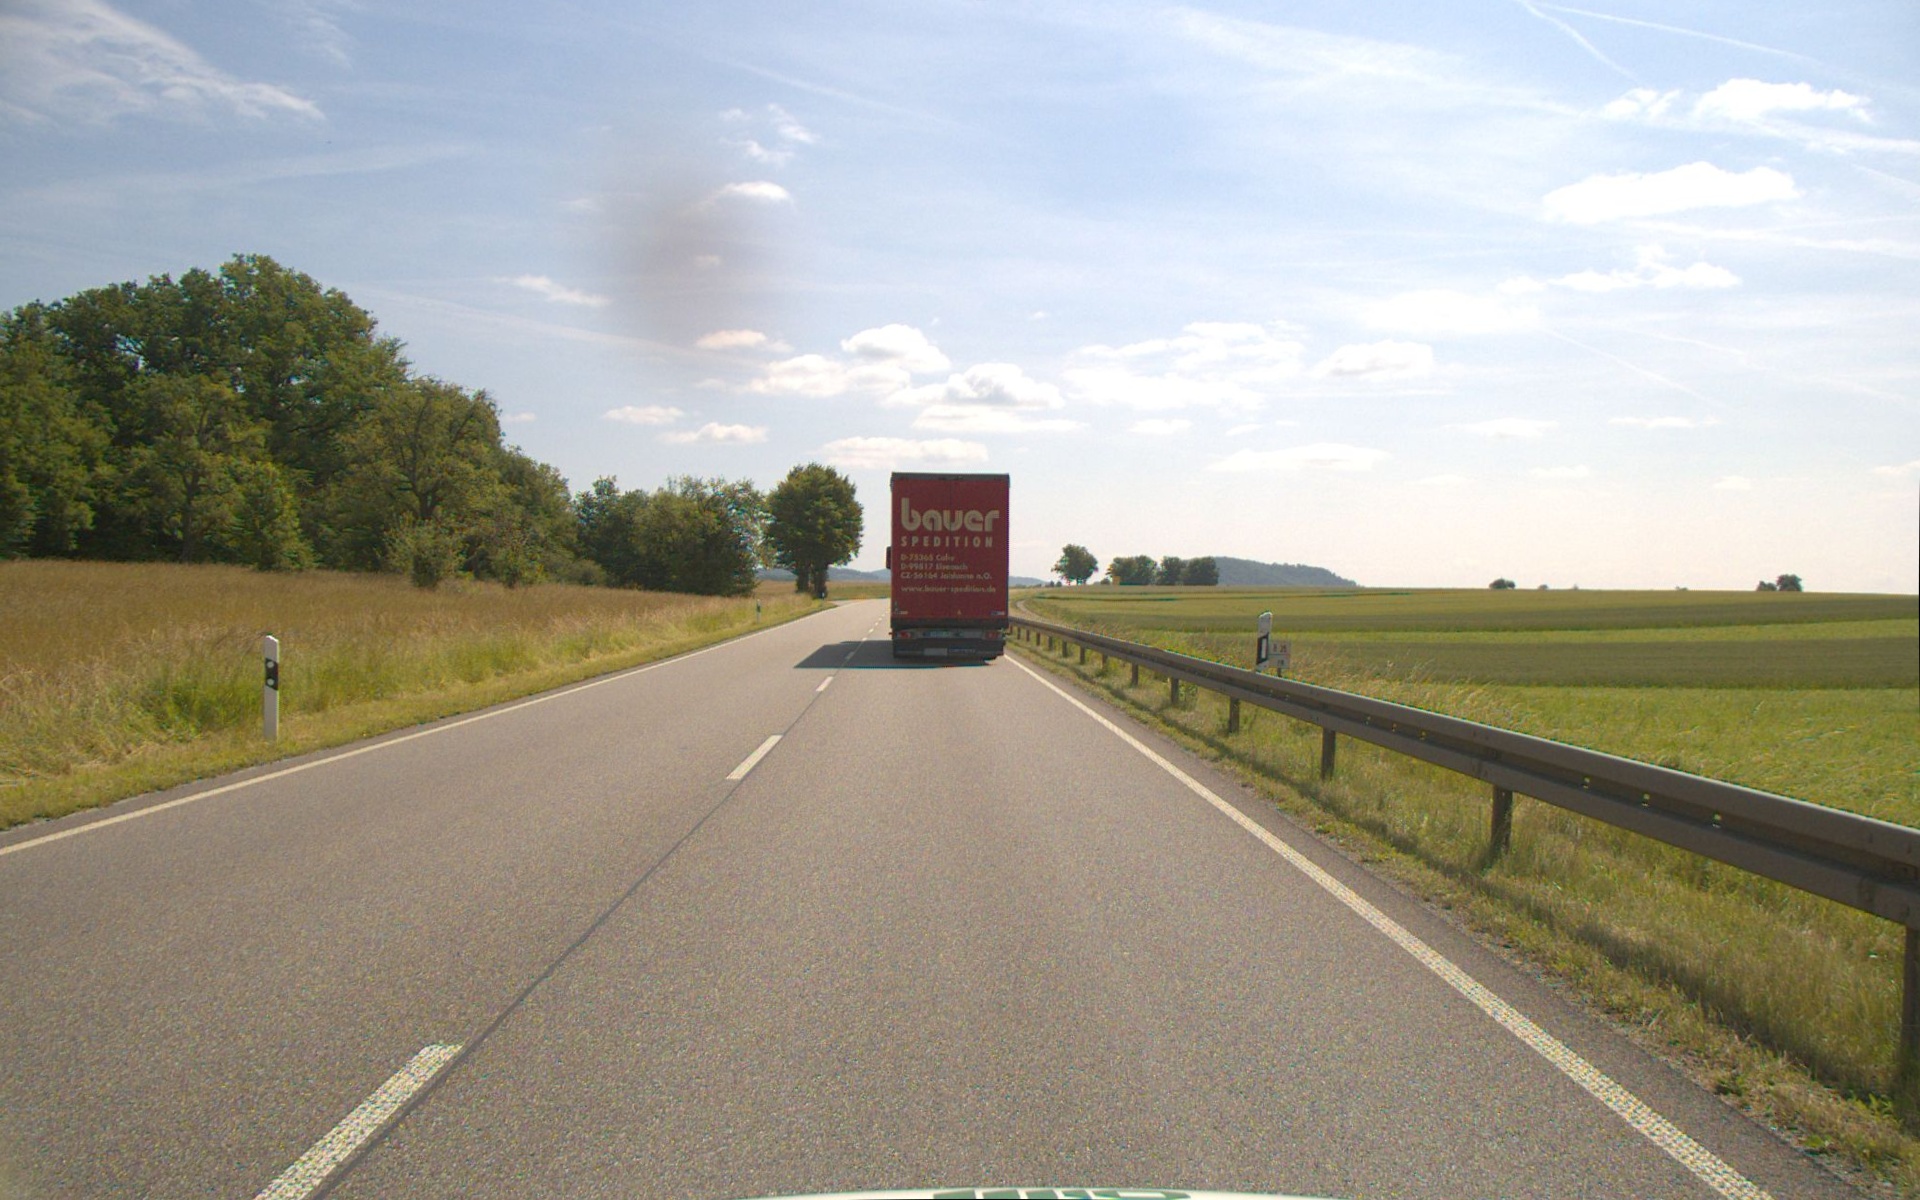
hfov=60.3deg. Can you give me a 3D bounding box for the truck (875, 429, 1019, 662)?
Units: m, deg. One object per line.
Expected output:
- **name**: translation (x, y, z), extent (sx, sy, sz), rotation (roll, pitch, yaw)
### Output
- **truck**: translation (-0.410, -1.114, 39.058), extent (2.915, 4.796, 9.362), rotation (1, 0, -2)
